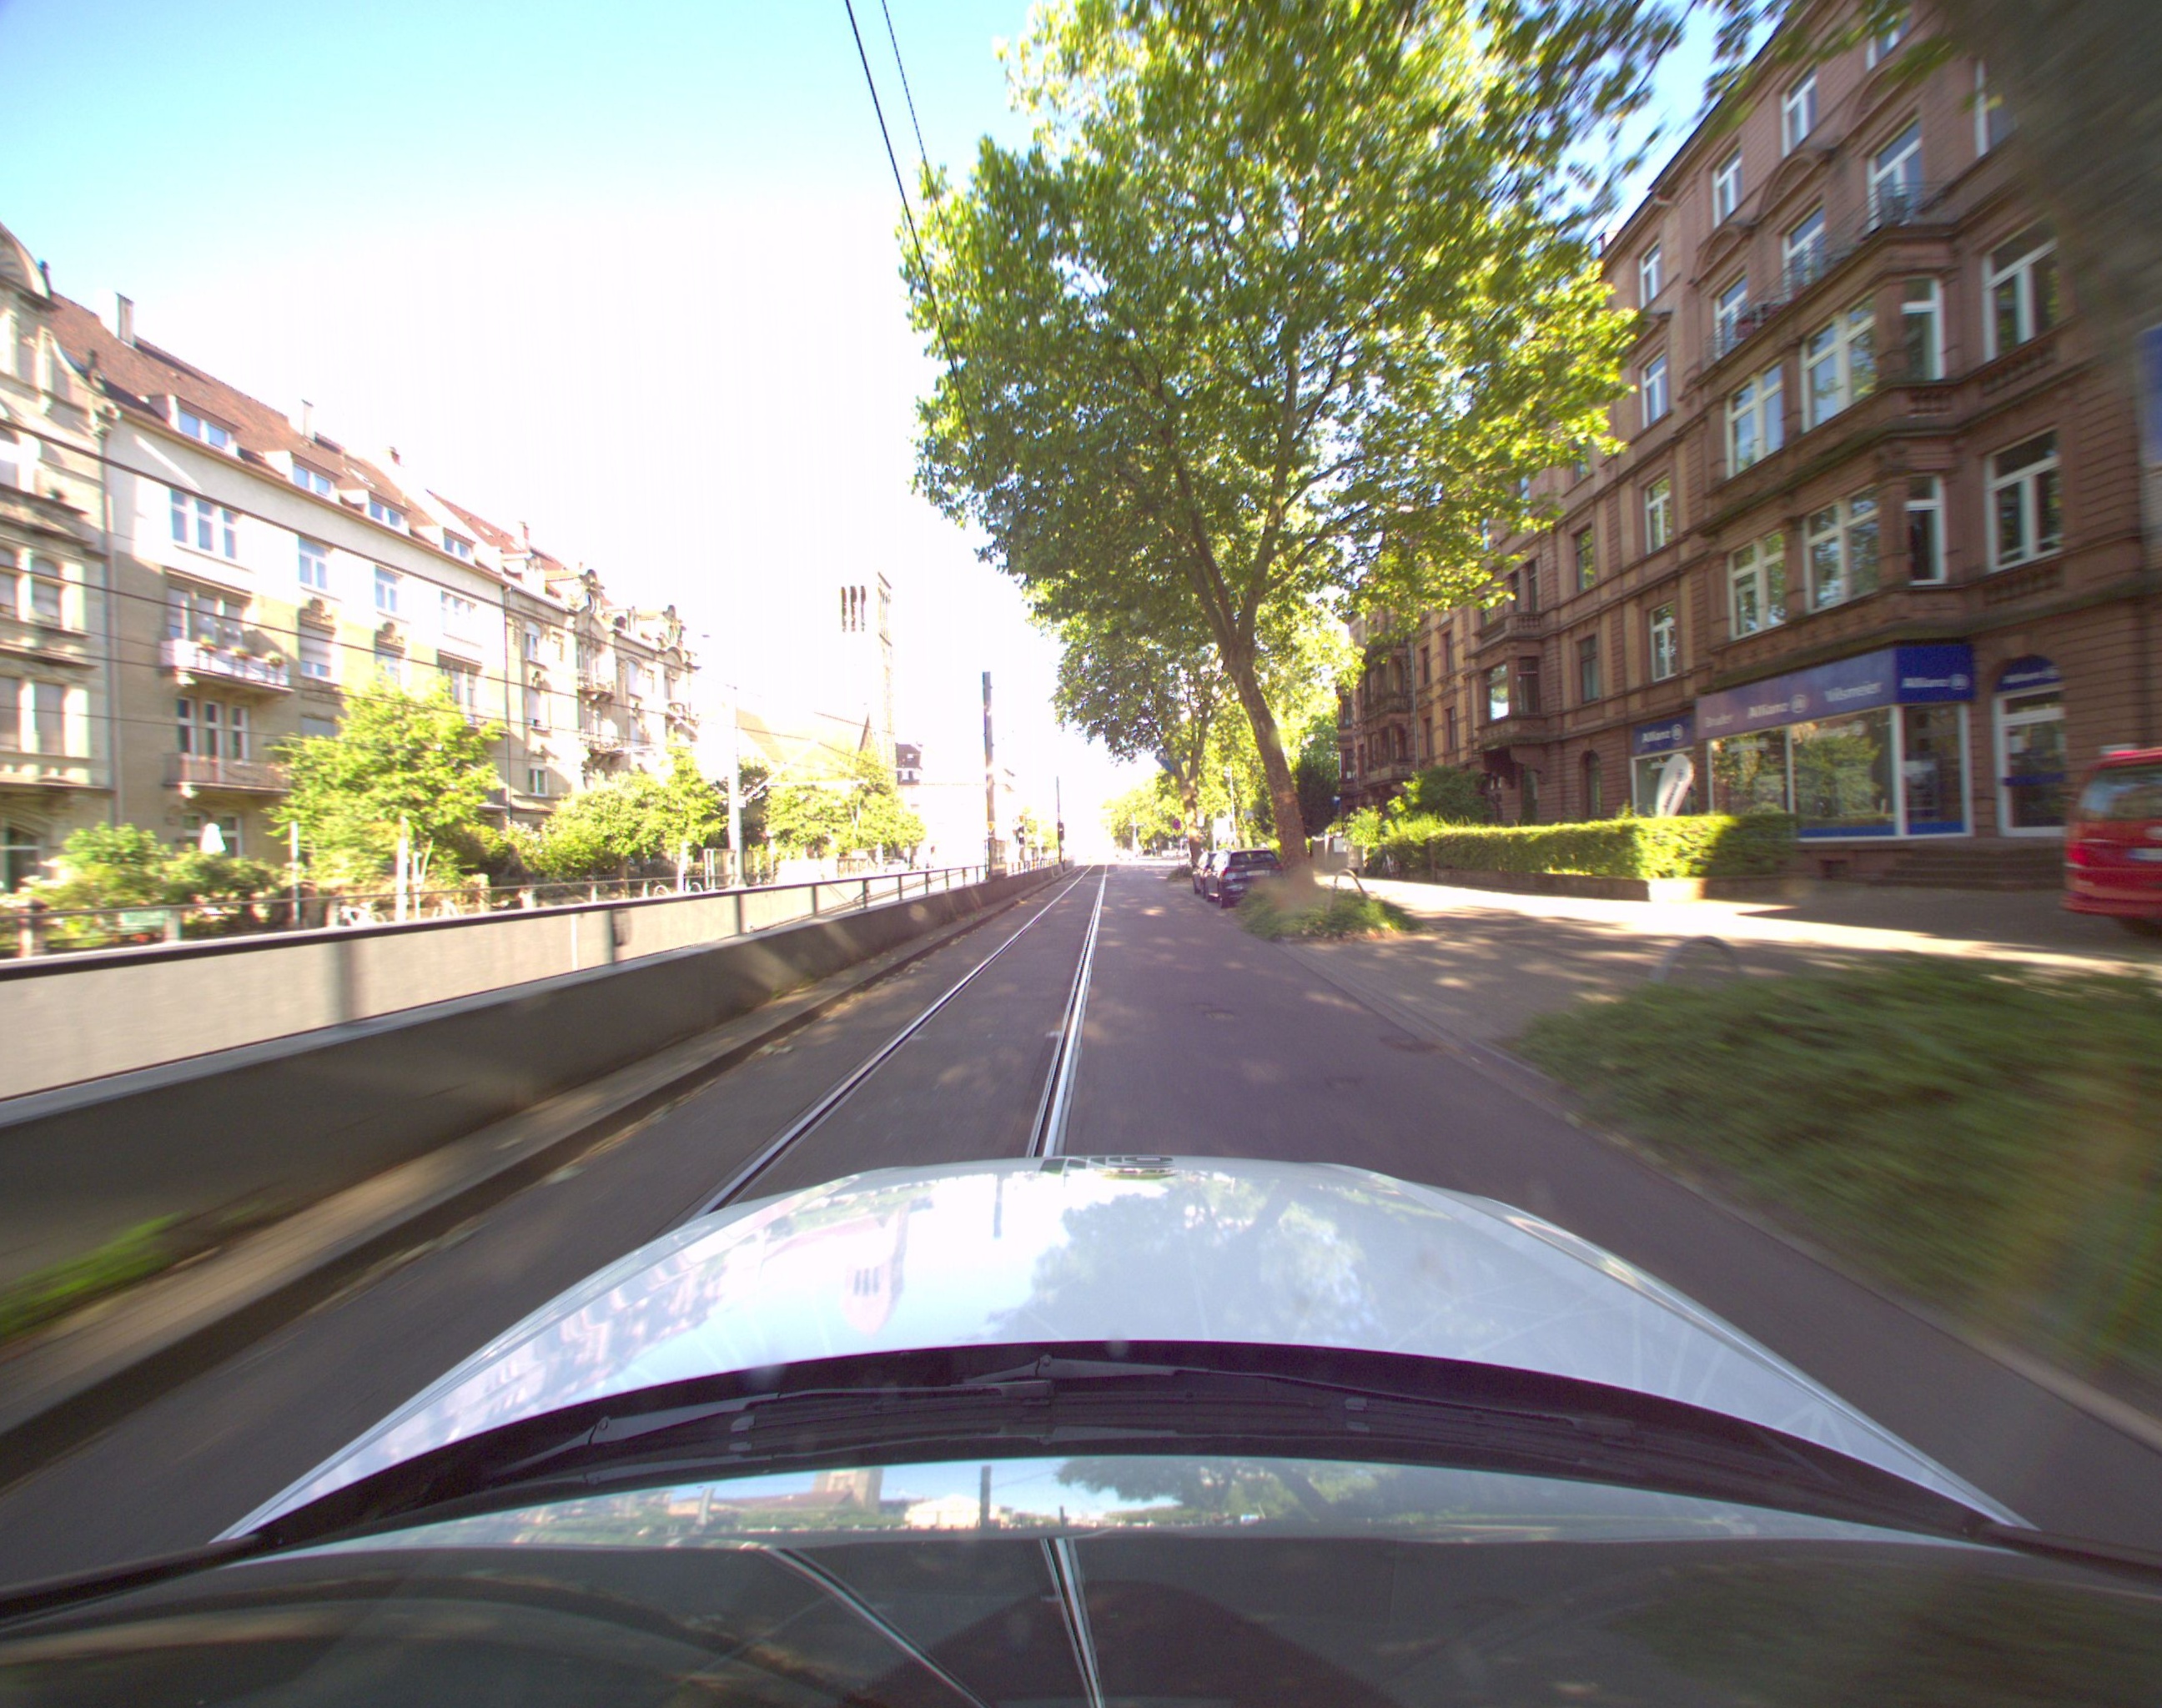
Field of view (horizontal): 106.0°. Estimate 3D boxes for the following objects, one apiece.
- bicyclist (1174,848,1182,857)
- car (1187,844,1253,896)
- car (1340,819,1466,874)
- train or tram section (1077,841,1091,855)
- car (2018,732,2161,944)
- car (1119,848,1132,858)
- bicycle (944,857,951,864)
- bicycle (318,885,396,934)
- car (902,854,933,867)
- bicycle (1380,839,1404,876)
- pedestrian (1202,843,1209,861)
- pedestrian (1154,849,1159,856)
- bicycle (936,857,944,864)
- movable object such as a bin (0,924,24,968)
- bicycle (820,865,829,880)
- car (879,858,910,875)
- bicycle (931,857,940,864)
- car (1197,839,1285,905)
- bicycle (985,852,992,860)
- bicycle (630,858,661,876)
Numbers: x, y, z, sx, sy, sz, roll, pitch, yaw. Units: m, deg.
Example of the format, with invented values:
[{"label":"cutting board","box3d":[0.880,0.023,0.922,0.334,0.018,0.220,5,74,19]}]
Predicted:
[{"label":"bicyclist","box3d":[17.443,-0.264,146.143,1.200,1.696,0.900,0,0,-13]},{"label":"car","box3d":[4.538,0.483,27.035,1.546,1.499,4.051,-3,0,1]},{"label":"car","box3d":[13.684,-0.322,34.774,4.556,2.013,1.915,-4,0,1]},{"label":"train or tram section","box3d":[0.722,-1.531,204.114,2.940,3.410,10.798,0,0,2]},{"label":"car","box3d":[12.334,-0.308,7.878,4.163,2.013,2.000,-4,0,0]},{"label":"car","box3d":[6.561,-0.171,120.528,1.739,1.462,3.645,0,1,1]},{"label":"bicycle","box3d":[-24.408,1.217,148.970,0.823,1.282,2.550,0,0,-17]},{"label":"bicycle","box3d":[-20.084,1.530,22.595,1.721,1.279,0.601,-2,0,7]},{"label":"car","box3d":[-23.206,0.962,115.544,3.969,1.756,1.897,0,0,4]},{"label":"bicycle","box3d":[10.849,0.106,28.483,0.336,1.250,1.770,0,0,6]},{"label":"pedestrian","box3d":[12.883,-0.210,84.213,0.600,1.776,0.691,-5,0,5]},{"label":"pedestrian","box3d":[15.738,-0.368,169.515,0.653,1.388,0.837,0,0,34]},{"label":"bicycle","box3d":[-25.748,1.208,148.669,0.826,1.282,2.541,0,0,-29]},{"label":"movable object such as a bin","box3d":[-23.896,2.018,17.655,0.895,0.919,0.783,0,0,-4]},{"label":"bicycle","box3d":[-18.785,1.363,59.534,0.487,1.022,1.879,0,0,-22]},{"label":"car","box3d":[-18.166,1.177,79.542,1.708,1.555,4.515,0,0,4]},{"label":"bicycle","box3d":[-26.550,1.205,148.226,0.826,1.282,2.541,0,0,-29]},{"label":"car","box3d":[4.356,0.447,22.777,1.610,1.587,4.418,-3,0,1]},{"label":"bicycle","box3d":[-14.992,0.326,132.048,0.628,1.144,2.285,-4,0,9]},{"label":"bicycle","box3d":[-25.938,0.771,48.518,0.502,1.018,2.115,0,0,6]}]
